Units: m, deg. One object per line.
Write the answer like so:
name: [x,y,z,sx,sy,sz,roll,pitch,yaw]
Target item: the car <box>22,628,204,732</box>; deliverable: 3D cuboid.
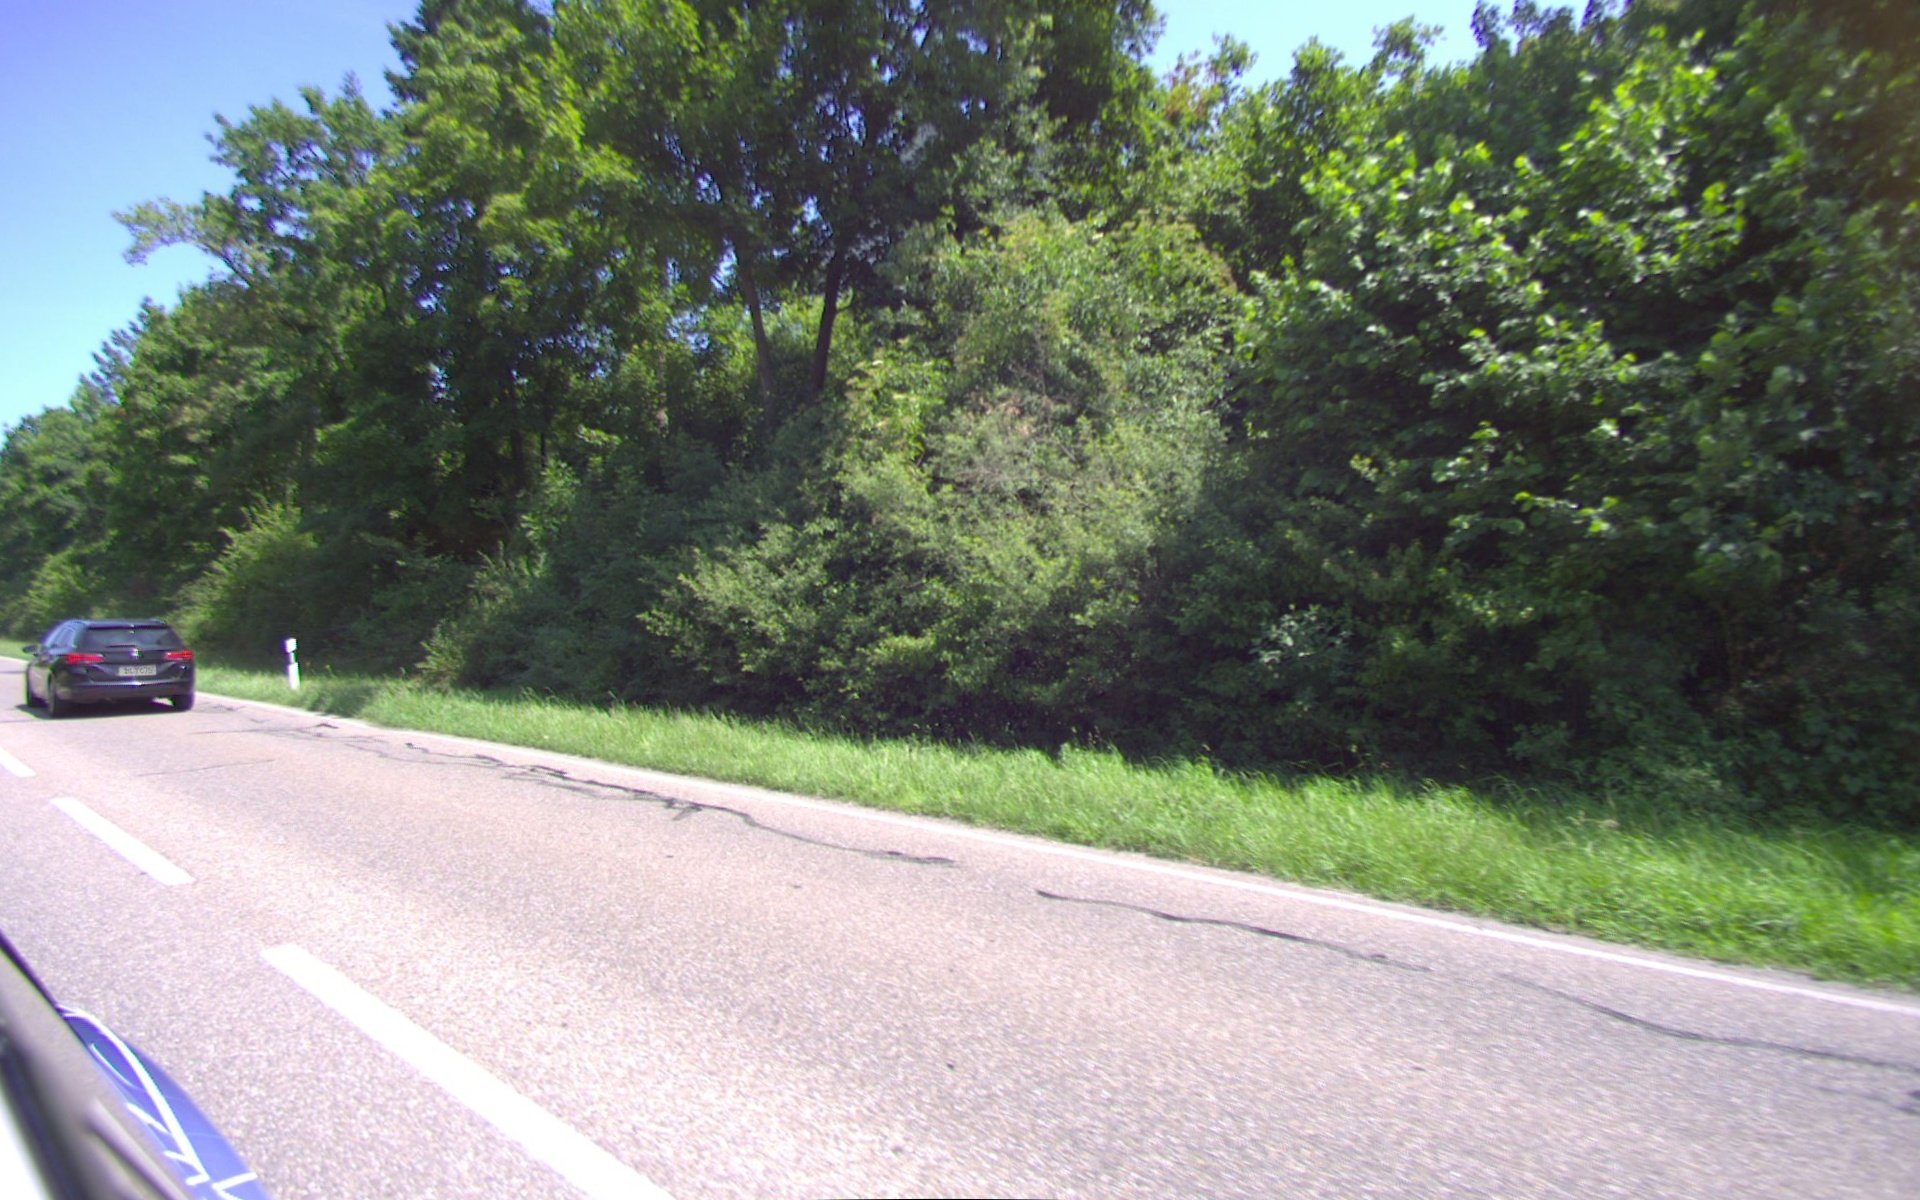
car: [-13.899,1.203,16.528,4.109,1.460,1.764,-2,-1,43]
